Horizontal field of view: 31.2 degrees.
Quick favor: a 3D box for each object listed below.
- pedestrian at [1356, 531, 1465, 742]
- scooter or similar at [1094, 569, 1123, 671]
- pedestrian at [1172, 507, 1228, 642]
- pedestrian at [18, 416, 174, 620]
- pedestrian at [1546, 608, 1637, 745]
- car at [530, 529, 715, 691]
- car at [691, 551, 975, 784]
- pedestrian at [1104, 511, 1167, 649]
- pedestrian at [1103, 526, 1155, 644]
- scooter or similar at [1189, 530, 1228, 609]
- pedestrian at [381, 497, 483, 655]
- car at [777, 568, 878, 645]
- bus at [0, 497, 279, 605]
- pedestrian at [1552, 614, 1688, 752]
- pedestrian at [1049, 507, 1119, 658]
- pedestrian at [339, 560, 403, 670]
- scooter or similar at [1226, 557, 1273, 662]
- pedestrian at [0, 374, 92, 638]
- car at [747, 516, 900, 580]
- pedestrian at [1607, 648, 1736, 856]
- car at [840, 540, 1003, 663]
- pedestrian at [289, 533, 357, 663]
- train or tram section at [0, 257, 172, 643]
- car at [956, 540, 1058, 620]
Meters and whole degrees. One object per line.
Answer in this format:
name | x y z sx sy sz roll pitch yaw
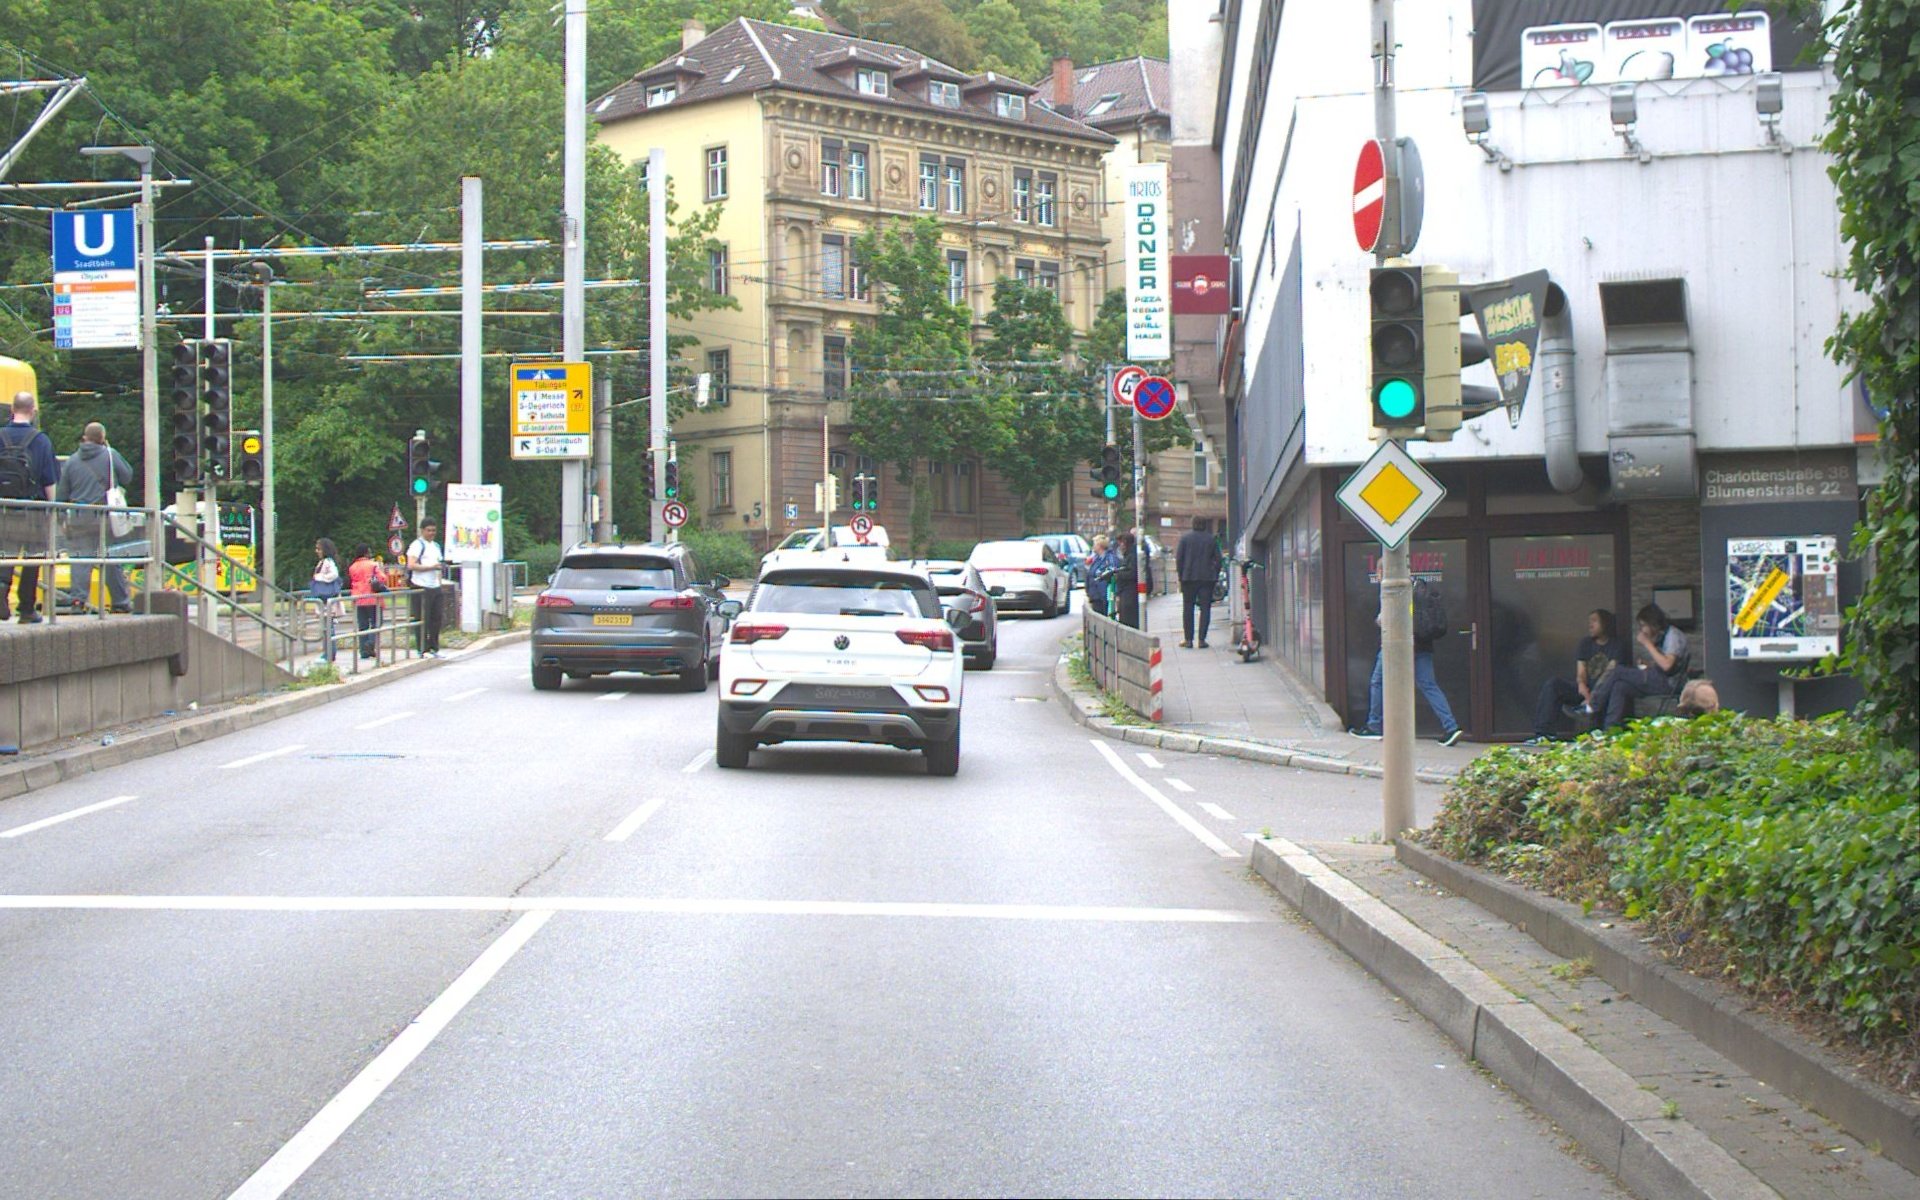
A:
pedestrian | 3.863 0.306 29.533 0.720 1.779 0.884 1 0 -6
scooter or similar | 1.874 0.243 43.513 0.354 1.271 0.813 0 1 2
pedestrian | 3.251 -0.348 46.603 0.727 1.802 0.654 1 1 3
pedestrian | -7.574 -0.708 30.178 1.116 1.674 1.041 -1 -4 -1
pedestrian | 5.823 0.697 31.689 0.735 1.231 0.717 1 1 16
car | -3.847 0.067 39.791 1.839 1.734 4.001 1 1 -2
car | -0.908 0.446 26.117 1.938 1.561 4.046 2 1 -1
pedestrian | 2.344 -0.273 45.894 0.738 1.787 0.655 -3 1 3
pedestrian | 2.451 -0.217 49.856 0.562 1.646 0.591 -6 1 3
scooter or similar | 4.678 -0.584 64.659 0.668 1.470 1.178 -1 1 6
pedestrian | -7.165 -0.314 46.672 0.966 2.060 1.031 -3 -3 19
car | -2.672 0.108 69.987 1.938 1.501 3.806 0 1 -1
bus | -26.652 -1.442 103.808 11.517 3.019 3.388 -1 1 13
pedestrian | 5.924 0.733 30.818 1.107 1.184 0.742 1 1 17
pedestrian | 1.708 -0.241 47.248 0.946 2.055 0.778 0 1 3
pedestrian | -8.040 0.207 46.935 0.577 1.459 0.675 -3 -3 19
scooter or similar | 3.615 0.107 42.868 0.428 1.271 0.980 1 2 13
pedestrian | -7.372 -0.708 26.735 0.929 1.963 1.233 -1 -2 -1
car | -4.538 -1.713 115.031 4.979 1.843 1.999 4 -3 -44
pedestrian | 3.252 0.704 15.749 0.484 0.907 0.583 1 -6 2
car | -0.476 0.002 46.472 1.903 1.568 3.834 1 1 4
pedestrian | -8.126 -0.031 43.911 0.675 1.619 1.001 -1 1 -2
train or tram section | -10.517 -1.376 32.920 2.881 3.651 14.479 -3 2 -2
car | 0.943 -0.408 67.119 1.938 1.501 3.806 0 1 2
